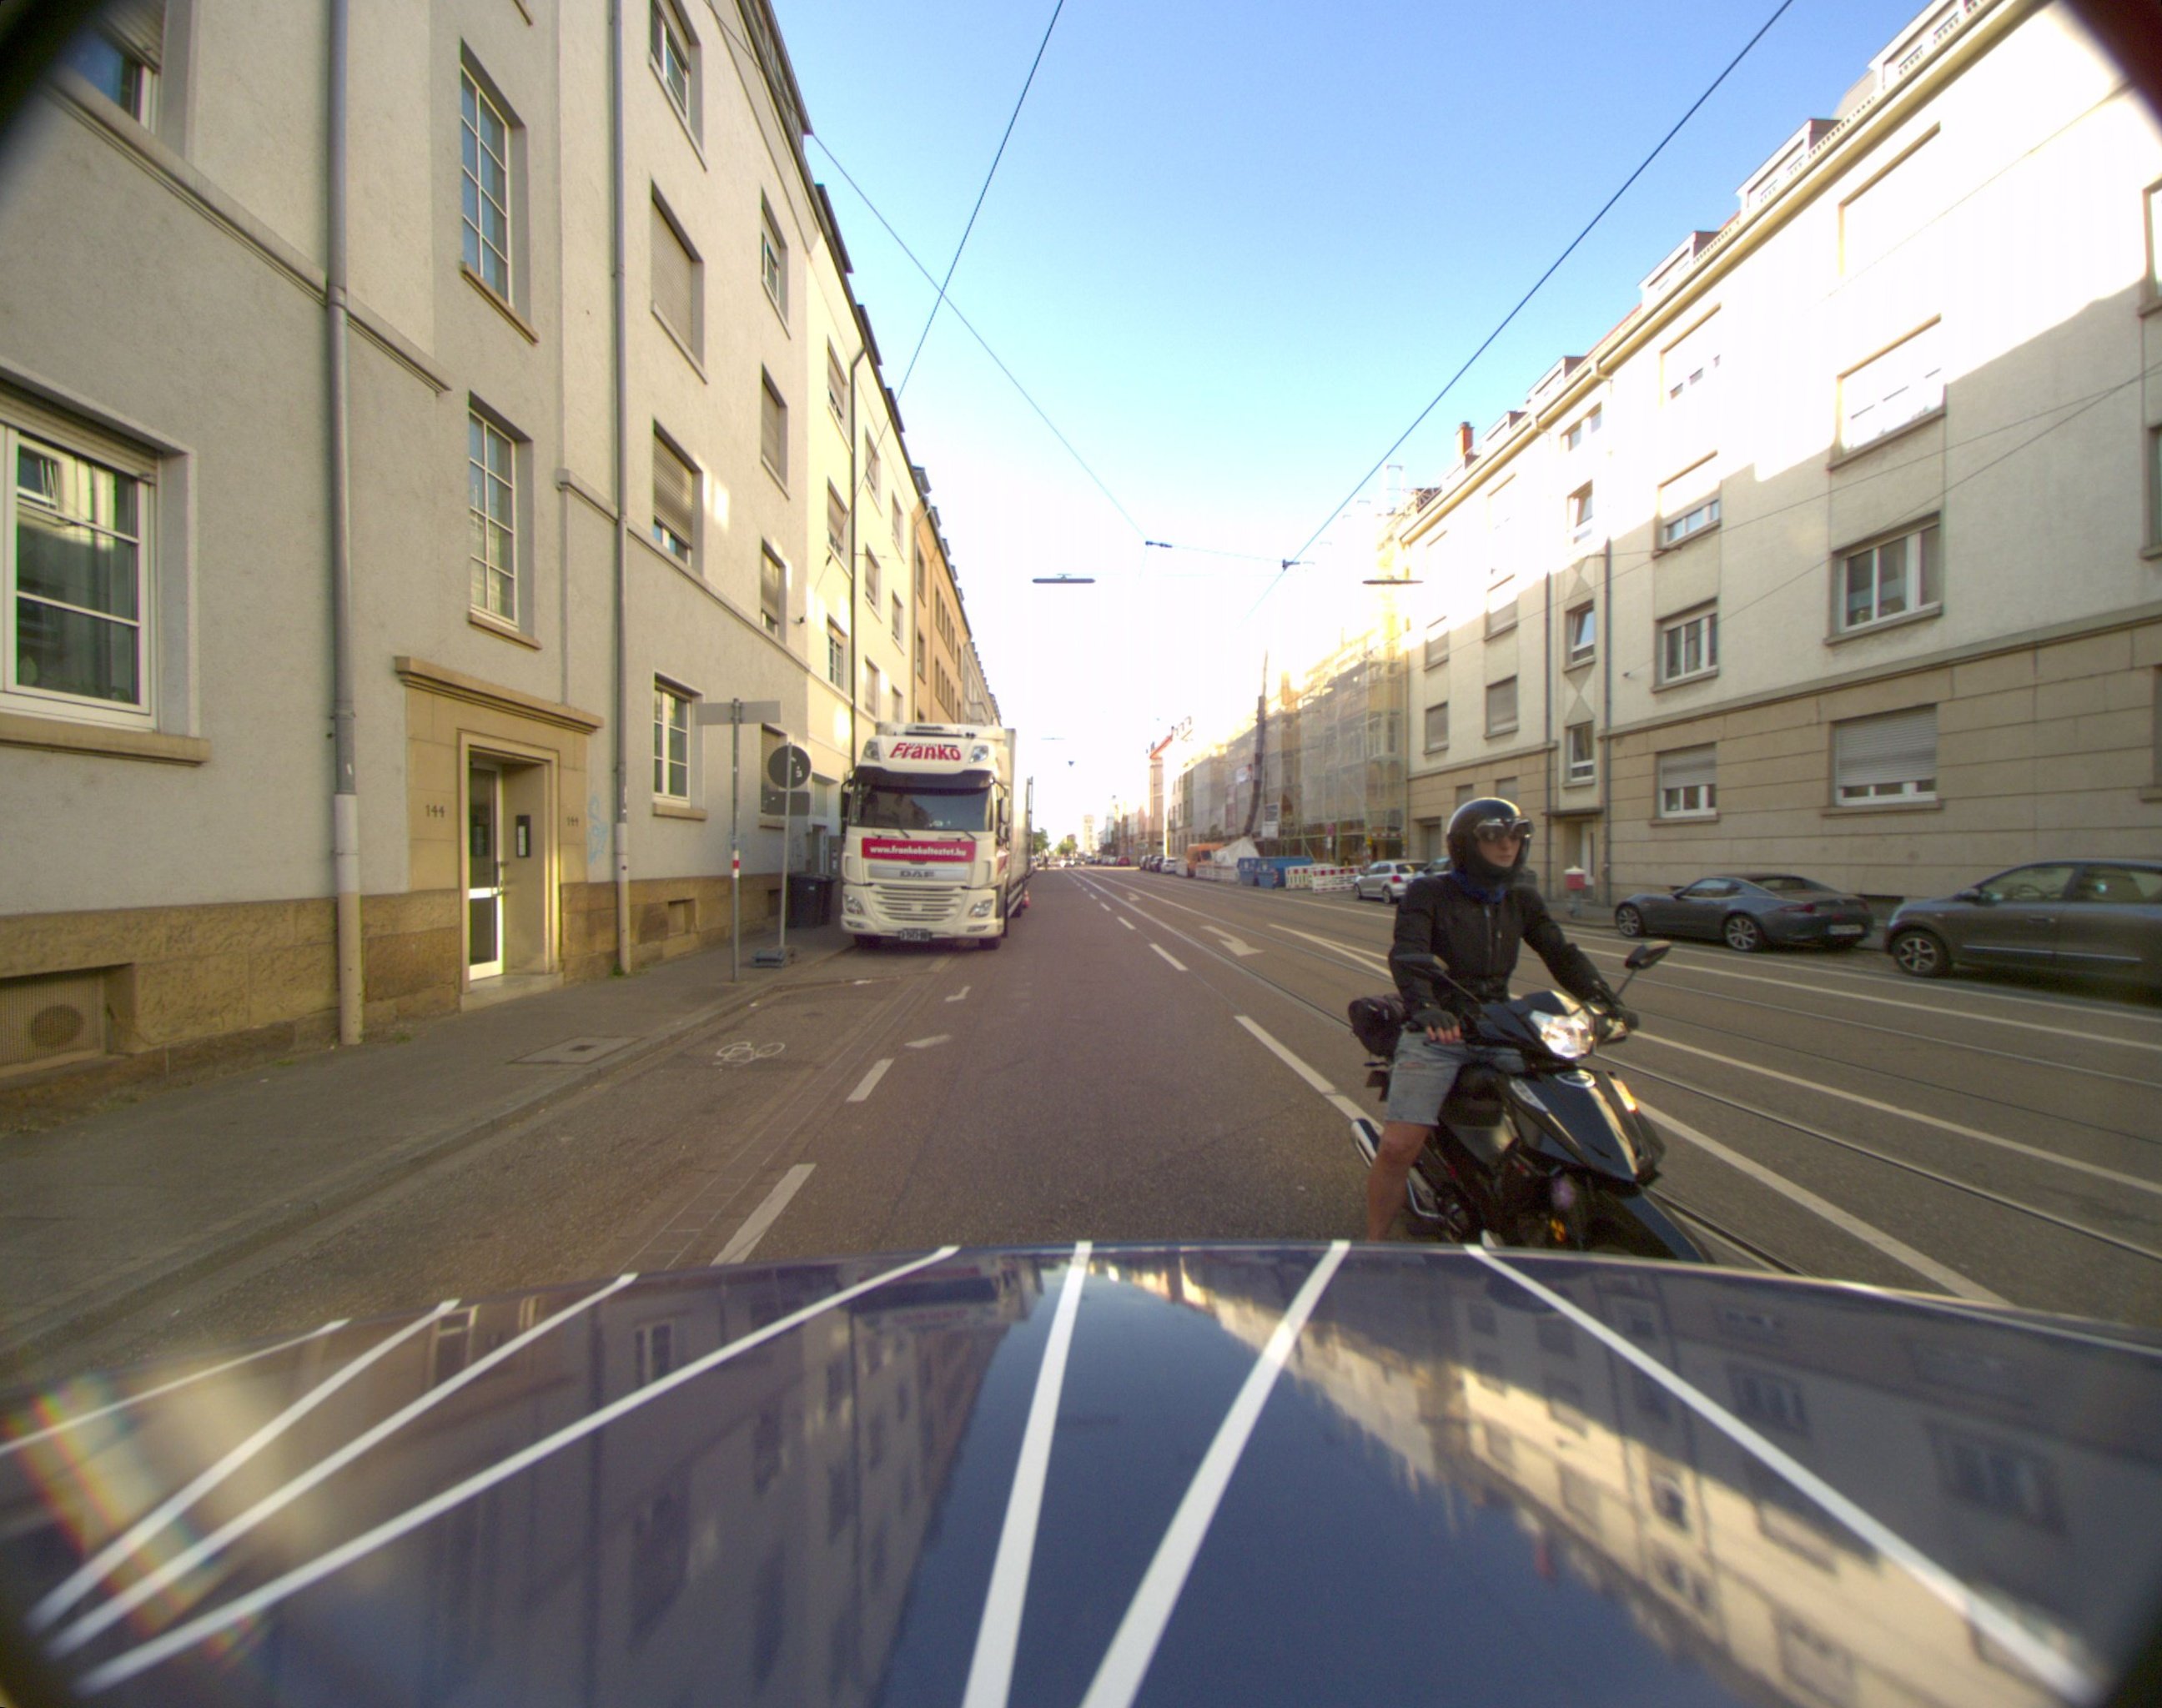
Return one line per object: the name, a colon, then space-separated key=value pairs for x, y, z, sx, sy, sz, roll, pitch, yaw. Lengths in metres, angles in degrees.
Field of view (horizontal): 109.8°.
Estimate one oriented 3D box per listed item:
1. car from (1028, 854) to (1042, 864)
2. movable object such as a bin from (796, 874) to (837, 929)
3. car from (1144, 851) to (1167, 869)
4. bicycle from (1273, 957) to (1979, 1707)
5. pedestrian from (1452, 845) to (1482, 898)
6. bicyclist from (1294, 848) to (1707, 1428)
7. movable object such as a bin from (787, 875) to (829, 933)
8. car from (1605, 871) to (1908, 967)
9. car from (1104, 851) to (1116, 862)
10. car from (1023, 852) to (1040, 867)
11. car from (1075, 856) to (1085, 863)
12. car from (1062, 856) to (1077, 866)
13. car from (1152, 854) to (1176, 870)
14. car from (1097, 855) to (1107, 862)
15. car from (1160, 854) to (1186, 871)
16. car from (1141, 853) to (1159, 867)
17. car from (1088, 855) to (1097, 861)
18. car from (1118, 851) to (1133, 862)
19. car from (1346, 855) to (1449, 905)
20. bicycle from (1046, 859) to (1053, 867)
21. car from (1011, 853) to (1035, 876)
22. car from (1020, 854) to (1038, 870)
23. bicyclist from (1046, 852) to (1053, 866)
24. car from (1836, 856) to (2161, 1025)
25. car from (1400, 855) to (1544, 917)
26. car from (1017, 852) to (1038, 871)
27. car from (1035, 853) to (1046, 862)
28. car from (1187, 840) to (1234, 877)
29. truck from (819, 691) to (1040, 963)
car: x=-6.799 y=0.699 z=112.977 sx=1.999 sy=1.412 sz=3.726 roll=1 pitch=0 yaw=-2
movable object such as a bin: x=-5.431 y=0.969 z=15.616 sx=0.660 sy=1.098 sz=0.541 roll=0 pitch=1 yaw=-5
car: x=8.131 y=0.604 z=83.267 sx=1.799 sy=1.836 sz=3.768 roll=-2 pitch=0 yaw=-3
bicycle: x=1.273 y=1.046 z=2.404 sx=0.740 sy=1.170 sz=1.973 roll=0 pitch=0 yaw=-3
pedestrian: x=12.580 y=0.561 z=24.786 sx=0.582 sy=1.684 sz=0.716 roll=-2 pitch=1 yaw=-3
bicyclist: x=1.245 y=0.756 z=2.458 sx=0.844 sy=1.545 sz=0.849 roll=0 pitch=1 yaw=-3
movable object such as a bin: x=-5.395 y=0.974 z=15.025 sx=0.660 sy=1.098 sz=0.541 roll=0 pitch=1 yaw=-5
car: x=11.219 y=0.991 z=13.023 sx=1.704 sy=1.209 sz=3.784 roll=-2 pitch=1 yaw=-3
car: x=5.614 y=0.466 z=149.168 sx=1.999 sy=2.002 sz=3.999 roll=1 pitch=0 yaw=-3
car: x=-5.313 y=0.618 z=82.393 sx=1.703 sy=1.581 sz=3.960 roll=0 pitch=0 yaw=-2
car: x=-0.223 y=1.212 z=168.899 sx=1.826 sy=1.559 sz=4.199 roll=-2 pitch=0 yaw=-4
car: x=-1.523 y=0.968 z=103.239 sx=1.859 sy=1.369 sz=4.000 roll=0 pitch=0 yaw=1
car: x=8.359 y=0.767 z=77.183 sx=1.702 sy=1.569 sz=4.221 roll=-2 pitch=0 yaw=-3
car: x=4.562 y=0.934 z=167.655 sx=1.799 sy=1.494 sz=3.768 roll=-2 pitch=0 yaw=-3
car: x=8.578 y=0.770 z=71.124 sx=1.751 sy=1.502 sz=3.999 roll=1 pitch=0 yaw=-2
car: x=7.960 y=0.720 z=88.137 sx=1.798 sy=1.601 sz=3.769 roll=0 pitch=0 yaw=1
car: x=2.856 y=1.069 z=191.724 sx=1.799 sy=1.494 sz=3.768 roll=-2 pitch=0 yaw=-3
car: x=6.981 y=0.387 z=118.752 sx=1.799 sy=1.494 sz=3.768 roll=-2 pitch=0 yaw=-3
car: x=10.729 y=0.826 z=26.080 sx=1.704 sy=1.407 sz=3.998 roll=-3 pitch=1 yaw=-2
bicycle: x=-3.604 y=1.051 z=86.606 sx=0.744 sy=0.850 sz=1.886 roll=0 pitch=0 yaw=1
car: x=-4.512 y=0.795 z=59.432 sx=1.713 sy=1.683 sz=4.588 roll=1 pitch=0 yaw=-3
car: x=-5.249 y=0.804 z=77.275 sx=1.703 sy=1.496 sz=3.862 roll=0 pitch=0 yaw=-1
bicyclist: x=-3.592 y=0.566 z=86.717 sx=0.744 sy=1.481 sz=0.816 roll=0 pitch=1 yaw=0
car: x=11.427 y=0.857 z=8.601 sx=1.704 sy=1.560 sz=3.998 roll=-2 pitch=1 yaw=-2
car: x=10.831 y=0.820 z=21.449 sx=1.704 sy=1.558 sz=4.405 roll=0 pitch=0 yaw=-2
car: x=-5.015 y=0.680 z=71.612 sx=1.703 sy=1.688 sz=4.187 roll=1 pitch=0 yaw=0
car: x=-7.608 y=0.633 z=142.953 sx=1.999 sy=1.630 sz=3.999 roll=1 pitch=0 yaw=-2
car: x=9.004 y=0.305 z=53.333 sx=2.125 sy=2.454 sz=5.999 roll=1 pitch=0 yaw=-2
truck: x=-2.576 y=-0.402 z=17.229 sx=2.867 sy=4.049 sz=11.776 roll=0 pitch=0 yaw=-1
